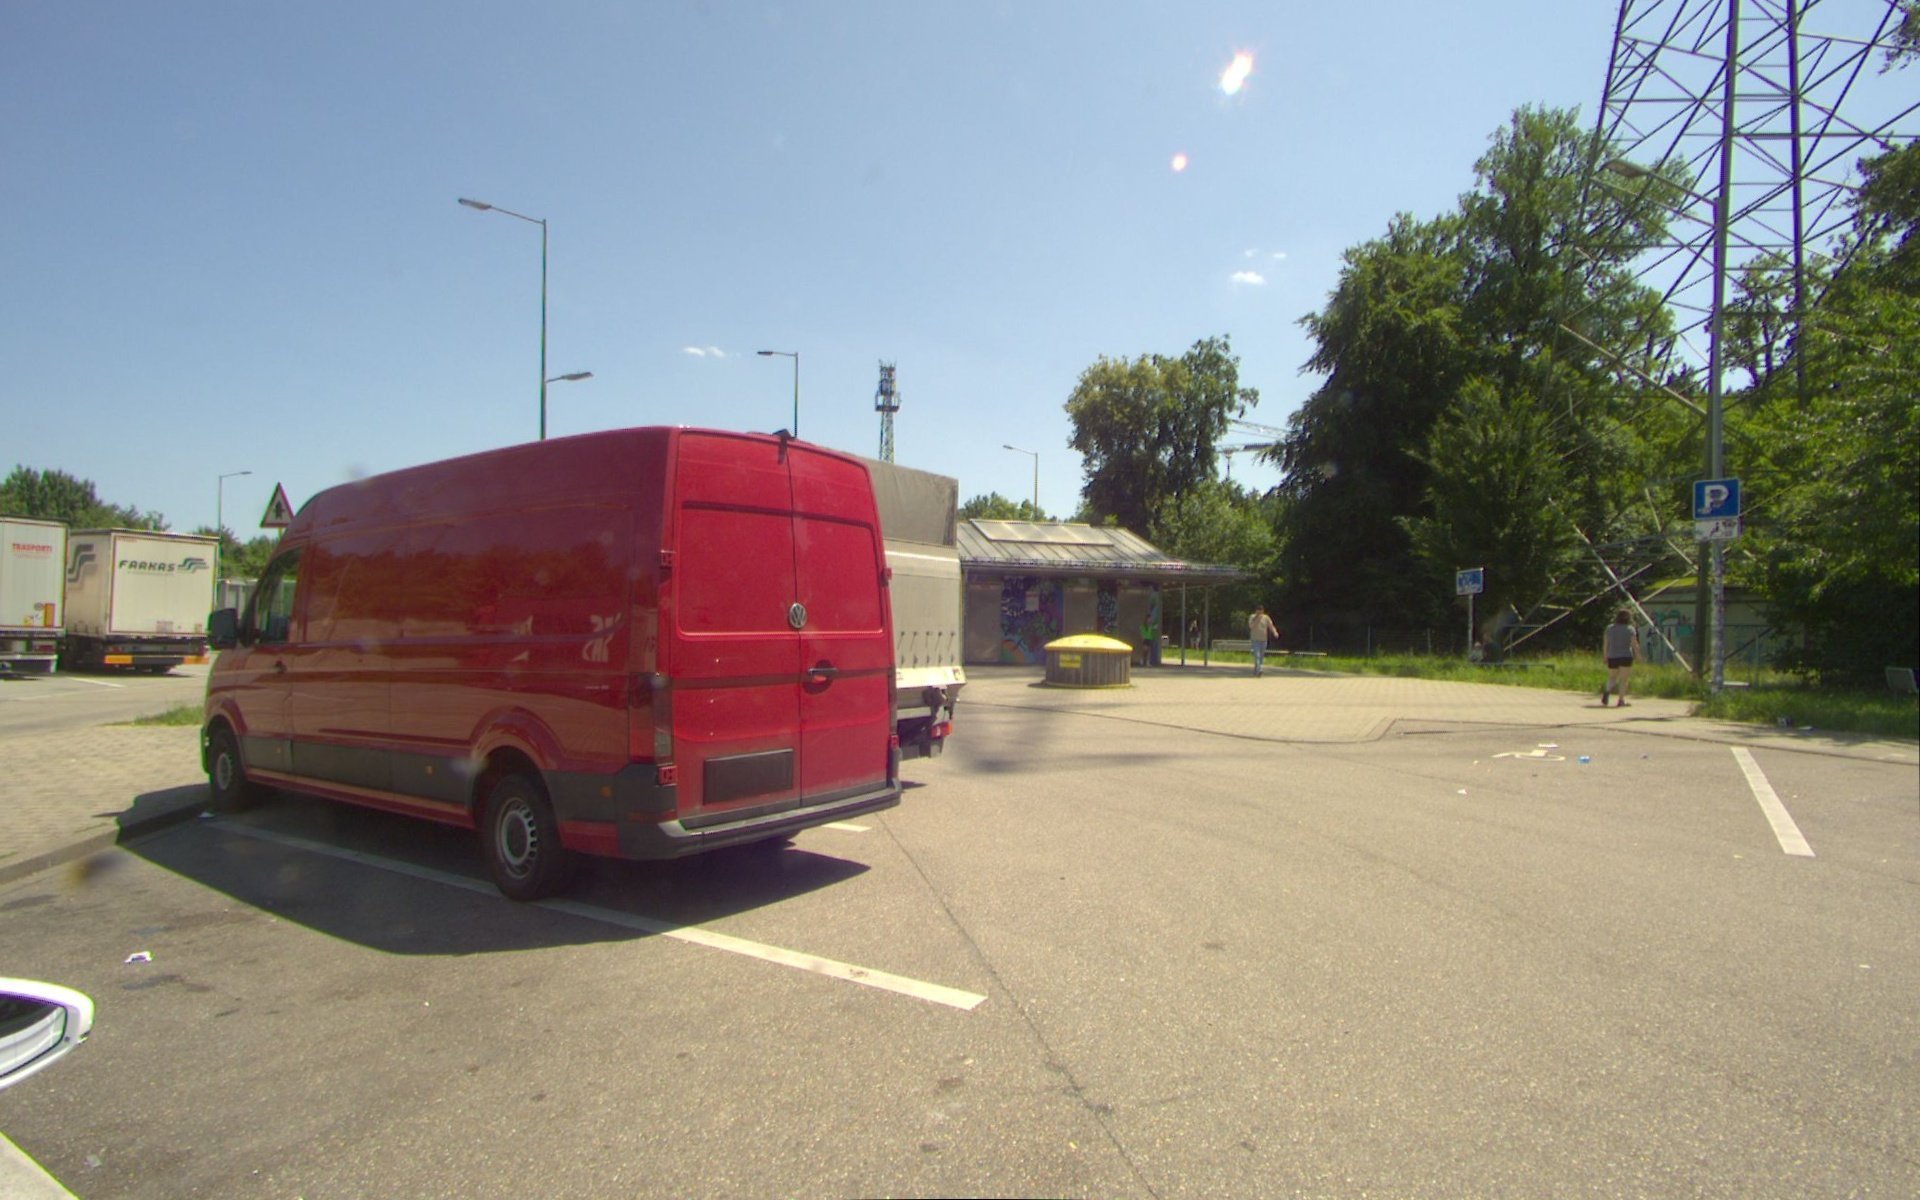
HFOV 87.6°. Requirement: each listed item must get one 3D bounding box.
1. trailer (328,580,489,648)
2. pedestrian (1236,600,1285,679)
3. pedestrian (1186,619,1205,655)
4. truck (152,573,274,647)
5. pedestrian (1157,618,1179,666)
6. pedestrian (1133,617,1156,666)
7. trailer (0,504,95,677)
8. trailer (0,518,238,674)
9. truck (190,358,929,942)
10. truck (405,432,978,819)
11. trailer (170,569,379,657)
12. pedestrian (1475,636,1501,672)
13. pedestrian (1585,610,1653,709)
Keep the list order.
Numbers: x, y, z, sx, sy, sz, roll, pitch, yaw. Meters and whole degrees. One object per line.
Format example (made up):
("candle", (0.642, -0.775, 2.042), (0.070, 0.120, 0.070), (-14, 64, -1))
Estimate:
("trailer", (-36.164, 0.855, 65.326), (13.561, 3.955, 2.854), (1, -2, 32))
("pedestrian", (7.497, 0.991, 25.031), (0.799, 1.929, 0.920), (0, -1, -15))
("pedestrian", (10.877, 1.726, 46.231), (0.799, 1.639, 0.920), (0, -1, 14))
("truck", (-37.542, 0.485, 50.311), (5.887, 3.406, 2.862), (1, -2, 32))
("pedestrian", (6.132, 1.242, 29.561), (0.532, 1.392, 0.583), (0, -1, 0))
("pedestrian", (5.325, 1.195, 28.922), (0.532, 1.392, 0.583), (0, -1, 0))
("trailer", (-28.681, -0.333, 28.010), (13.561, 4.162, 2.854), (1, -2, 32))
("trailer", (-27.608, -0.160, 31.598), (13.561, 4.162, 2.854), (1, -2, 32))
("truck", (-3.331, 0.304, 7.326), (6.372, 2.685, 2.005), (-1, -2, 37))
("truck", (-3.080, 0.275, 10.510), (6.372, 2.944, 2.411), (-1, -2, 37))
("trailer", (-32.471, 0.493, 47.087), (13.561, 3.646, 2.854), (1, -2, 32))
("pedestrian", (14.650, 1.488, 27.806), (0.439, 0.987, 0.460), (0, -1, -19))
("pedestrian", (11.438, 1.018, 17.388), (0.703, 1.670, 0.686), (0, -1, -19))
